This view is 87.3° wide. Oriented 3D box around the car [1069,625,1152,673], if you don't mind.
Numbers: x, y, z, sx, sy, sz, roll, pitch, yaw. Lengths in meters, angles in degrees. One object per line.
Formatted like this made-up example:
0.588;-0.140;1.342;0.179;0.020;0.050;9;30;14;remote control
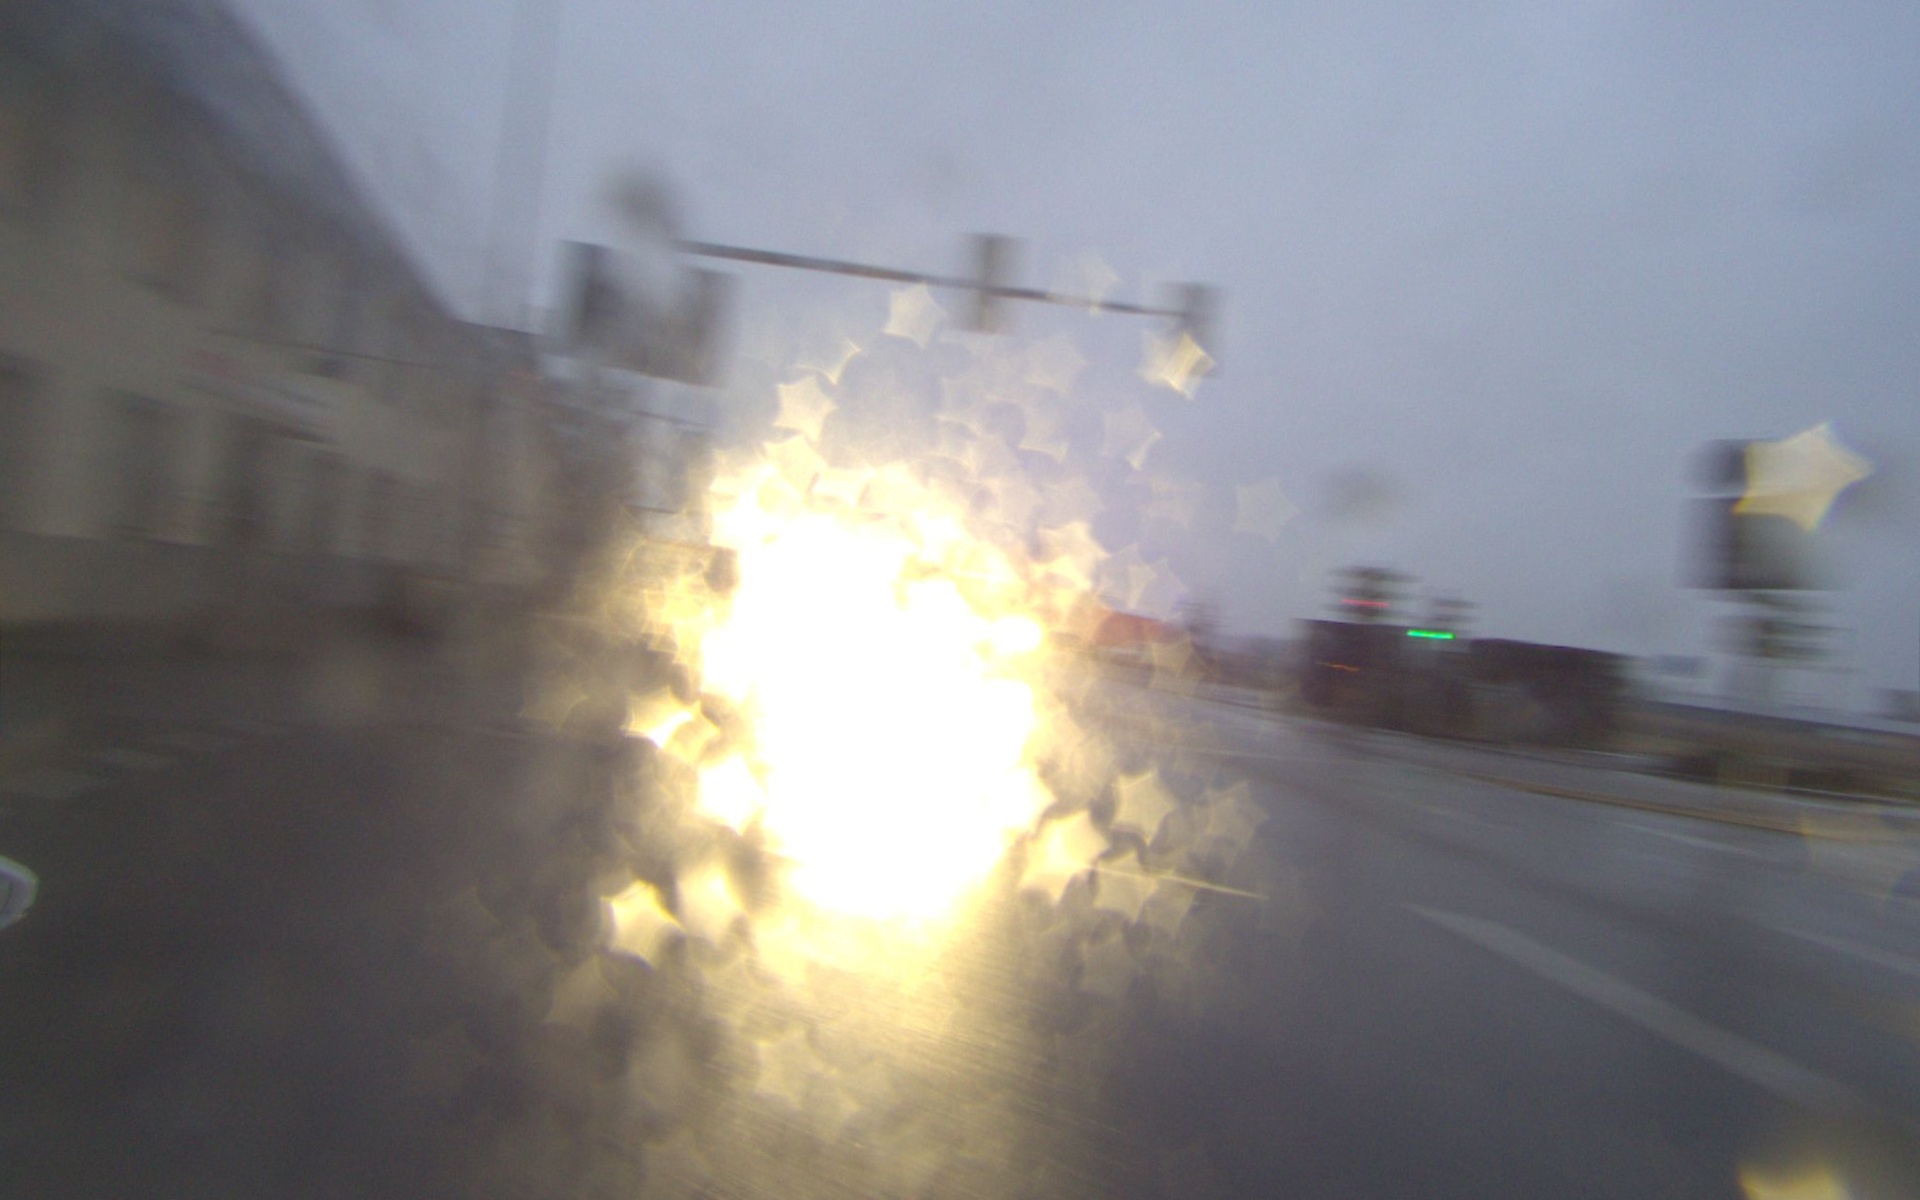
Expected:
7.901;2.575;53.169;3.926;2.039;1.999;6;0;-1;car

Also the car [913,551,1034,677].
0.214;0.392;29.347;2.368;2.925;6.244;9;-1;-6;car

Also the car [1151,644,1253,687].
11.913;3.229;49.698;4.461;1.549;1.775;6;0;-6;car

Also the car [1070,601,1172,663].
9.041;1.802;56.587;5.190;2.906;1.770;6;0;-18;car

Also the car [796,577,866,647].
-3.955;0.318;30.763;1.802;1.791;3.747;7;0;-8;car

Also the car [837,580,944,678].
-1.632;0.589;22.266;1.965;1.768;3.995;6;0;-7;car
